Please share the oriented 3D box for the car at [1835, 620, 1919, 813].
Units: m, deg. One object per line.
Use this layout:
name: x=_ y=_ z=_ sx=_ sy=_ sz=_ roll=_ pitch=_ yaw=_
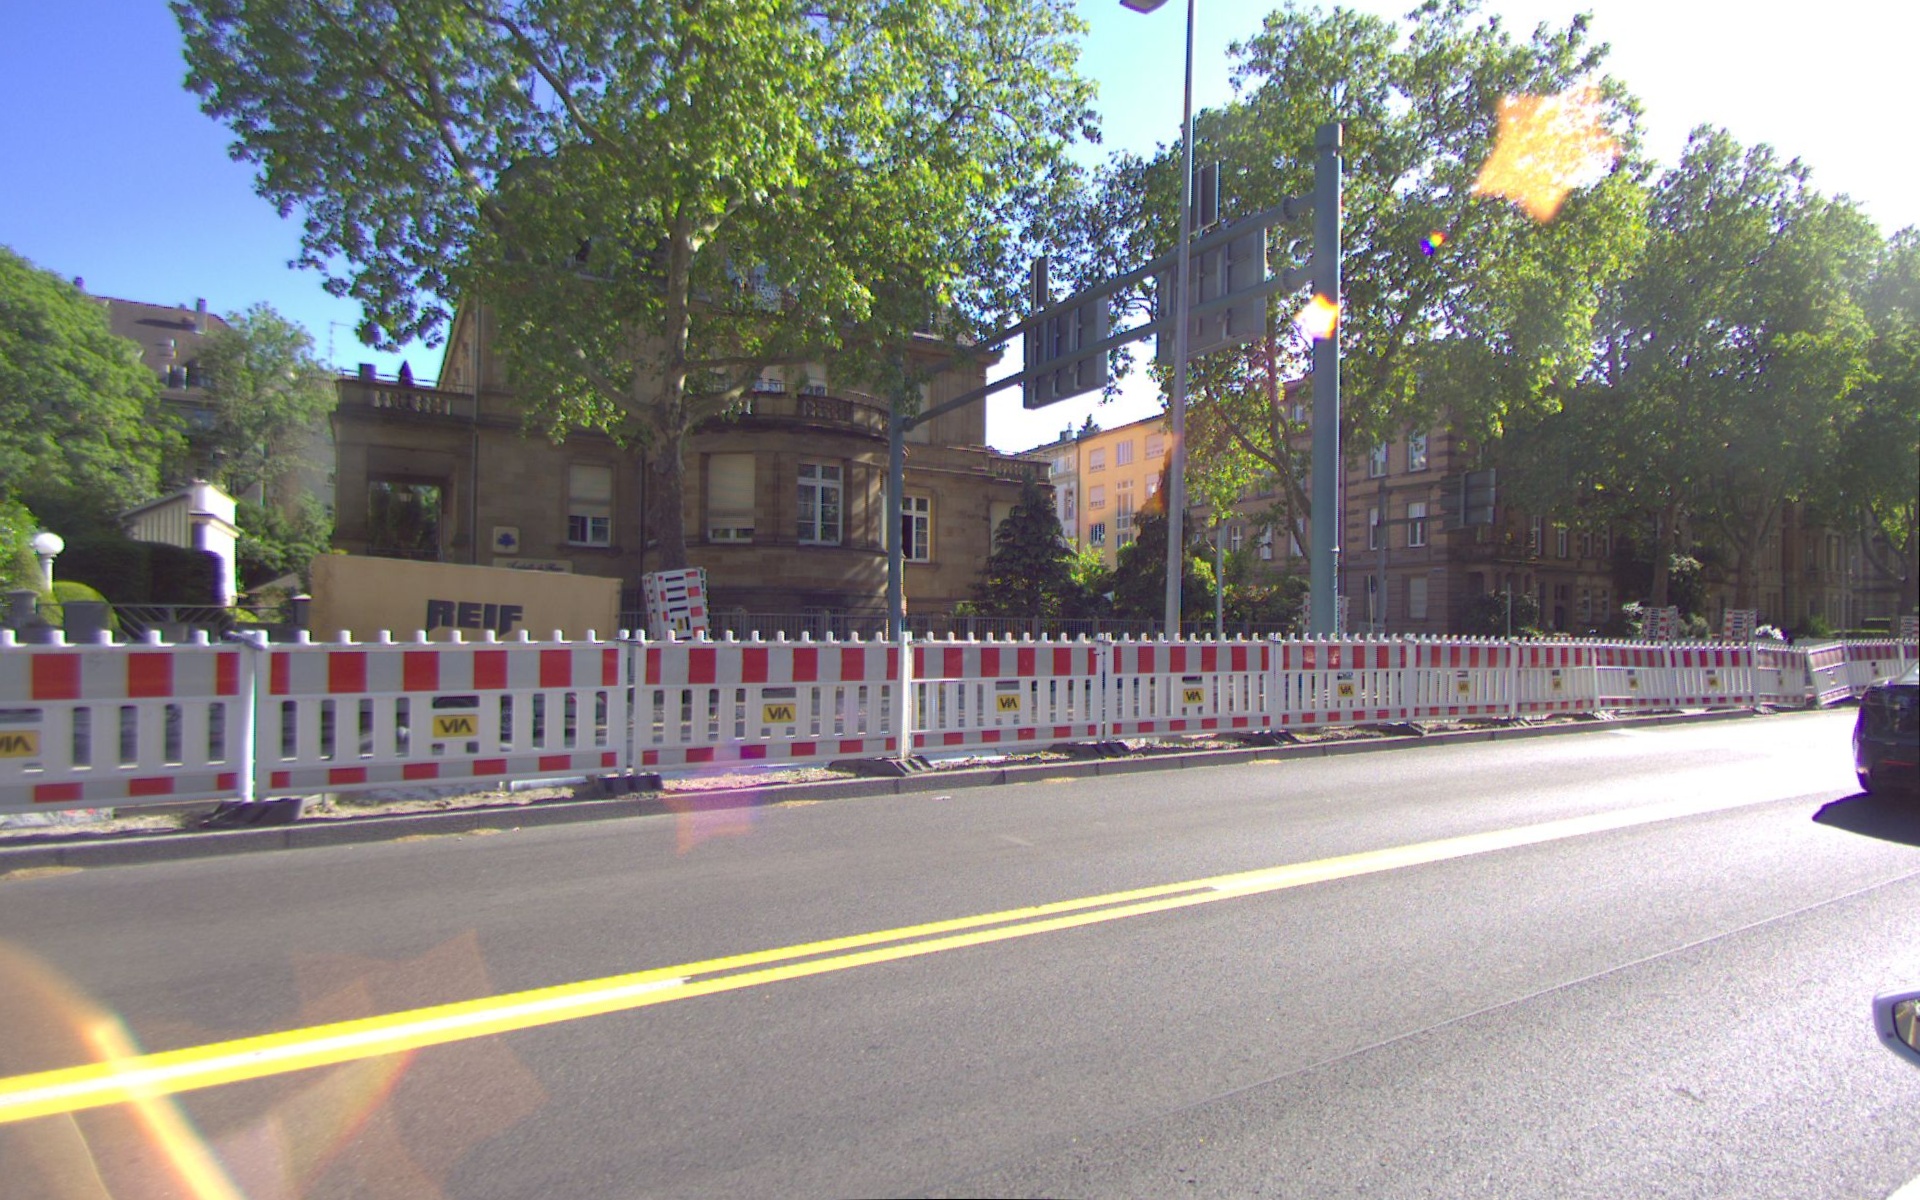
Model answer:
car: x=9.611 y=0.963 z=8.660 sx=4.424 sy=1.502 sz=1.829 roll=2 pitch=-1 yaw=-31
